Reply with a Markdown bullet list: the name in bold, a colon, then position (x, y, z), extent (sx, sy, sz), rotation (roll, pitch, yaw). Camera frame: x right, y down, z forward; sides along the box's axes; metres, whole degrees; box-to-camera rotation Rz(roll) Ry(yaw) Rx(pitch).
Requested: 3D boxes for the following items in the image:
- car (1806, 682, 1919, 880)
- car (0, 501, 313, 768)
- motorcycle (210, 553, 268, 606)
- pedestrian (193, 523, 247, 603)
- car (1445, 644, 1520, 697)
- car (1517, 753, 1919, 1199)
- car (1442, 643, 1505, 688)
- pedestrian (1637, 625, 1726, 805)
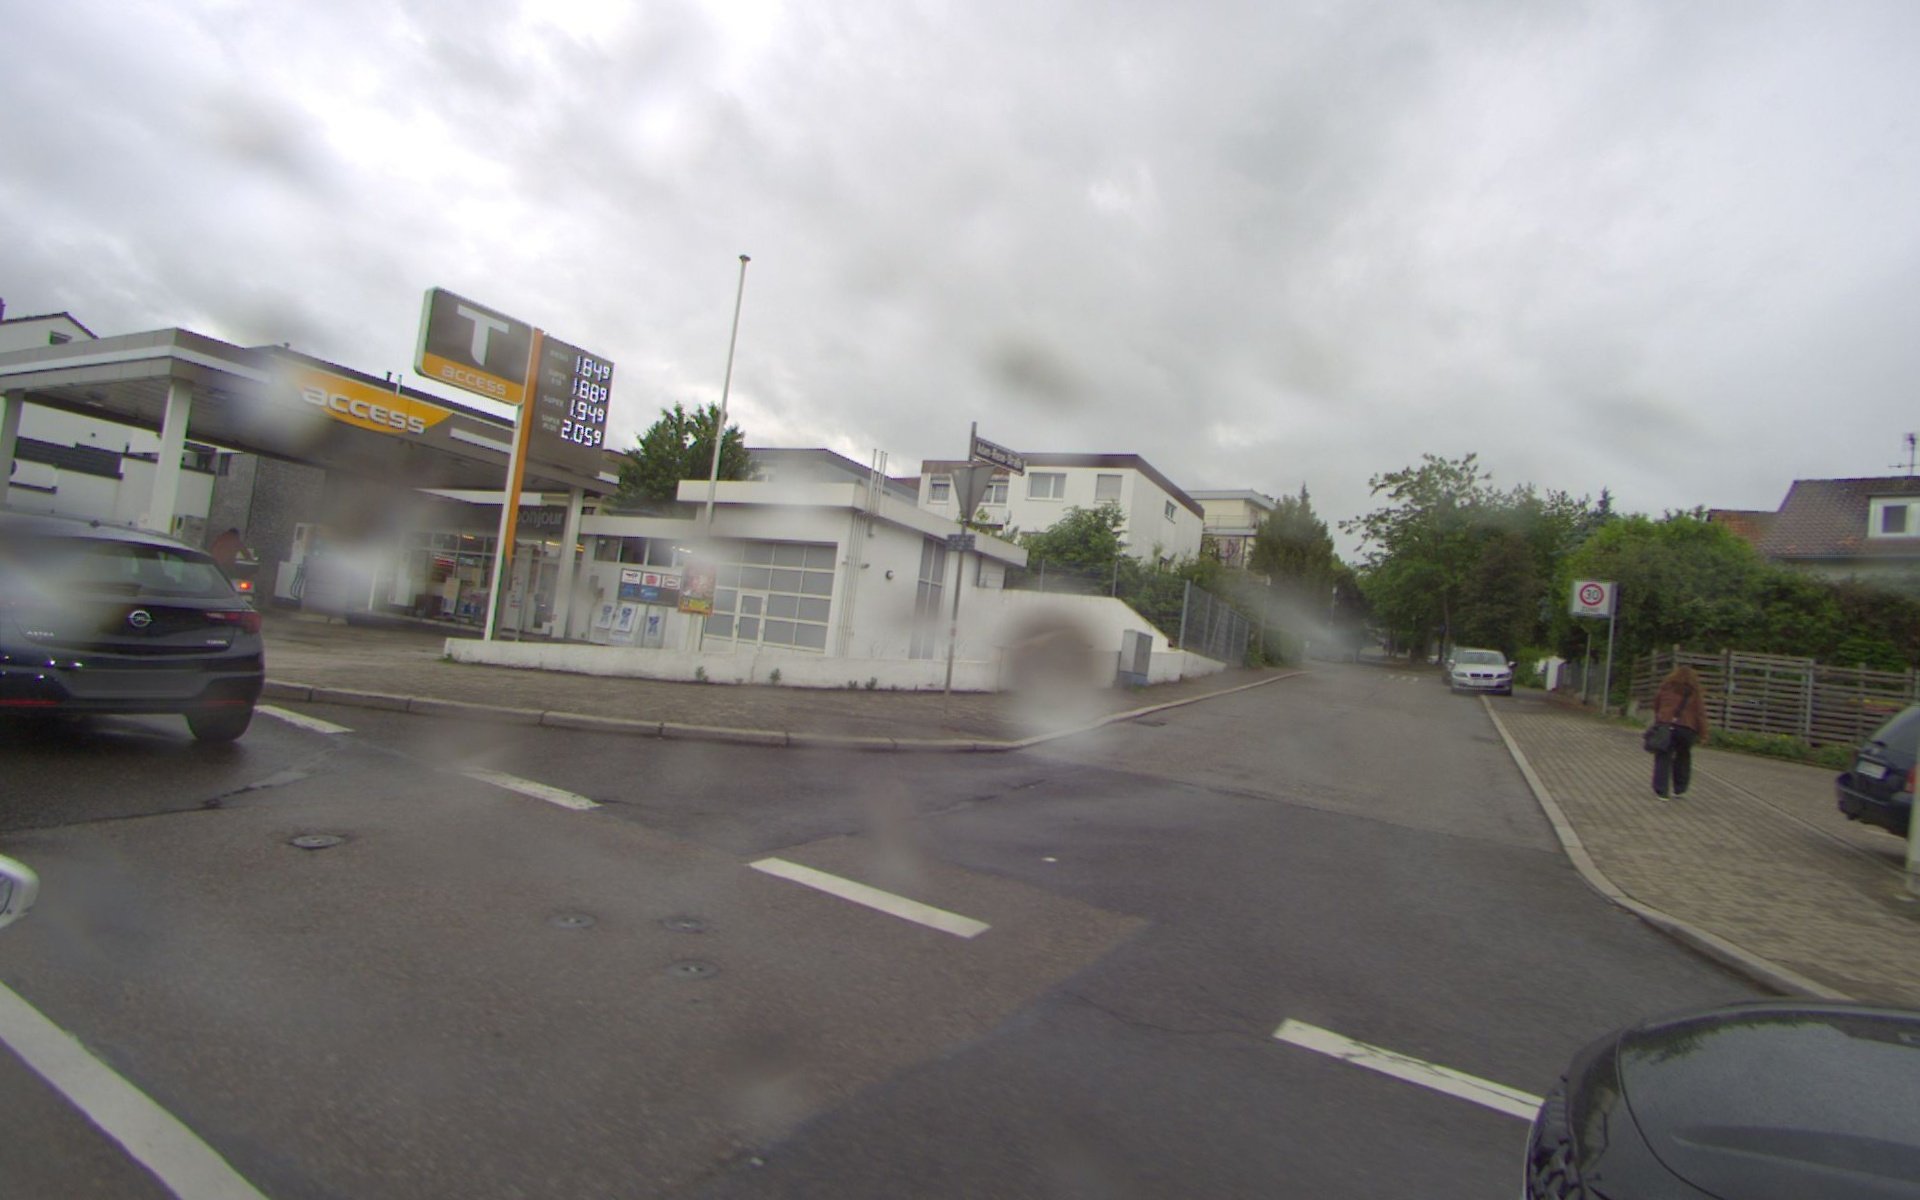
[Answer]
- **car**: position (9.891, 1.700, 8.341), extent (3.928, 1.546, 1.813), rotation (5, 0, 24)
- **car**: position (-6.612, 0.088, 7.128), extent (3.934, 1.466, 1.760), rotation (6, -2, 32)
- **motorcycle**: position (-16.145, -0.464, 22.516), extent (1.368, 1.067, 0.463), rotation (5, -3, 32)
- **pedestrian**: position (-16.447, -0.819, 22.364), extent (0.576, 1.674, 0.611), rotation (5, -3, 31)
- **car**: position (16.977, 2.247, 32.756), extent (1.965, 1.493, 3.993), rotation (3, -1, 27)
- **car**: position (3.143, 1.202, 0.841), extent (4.661, 1.440, 1.871), rotation (4, -4, 31)
- **car**: position (19.735, 2.481, 38.715), extent (1.965, 1.493, 3.993), rotation (3, -1, 27)
- **pedestrian**: position (8.638, 1.347, 12.076), extent (0.604, 2.039, 0.717), rotation (5, 1, 27)
